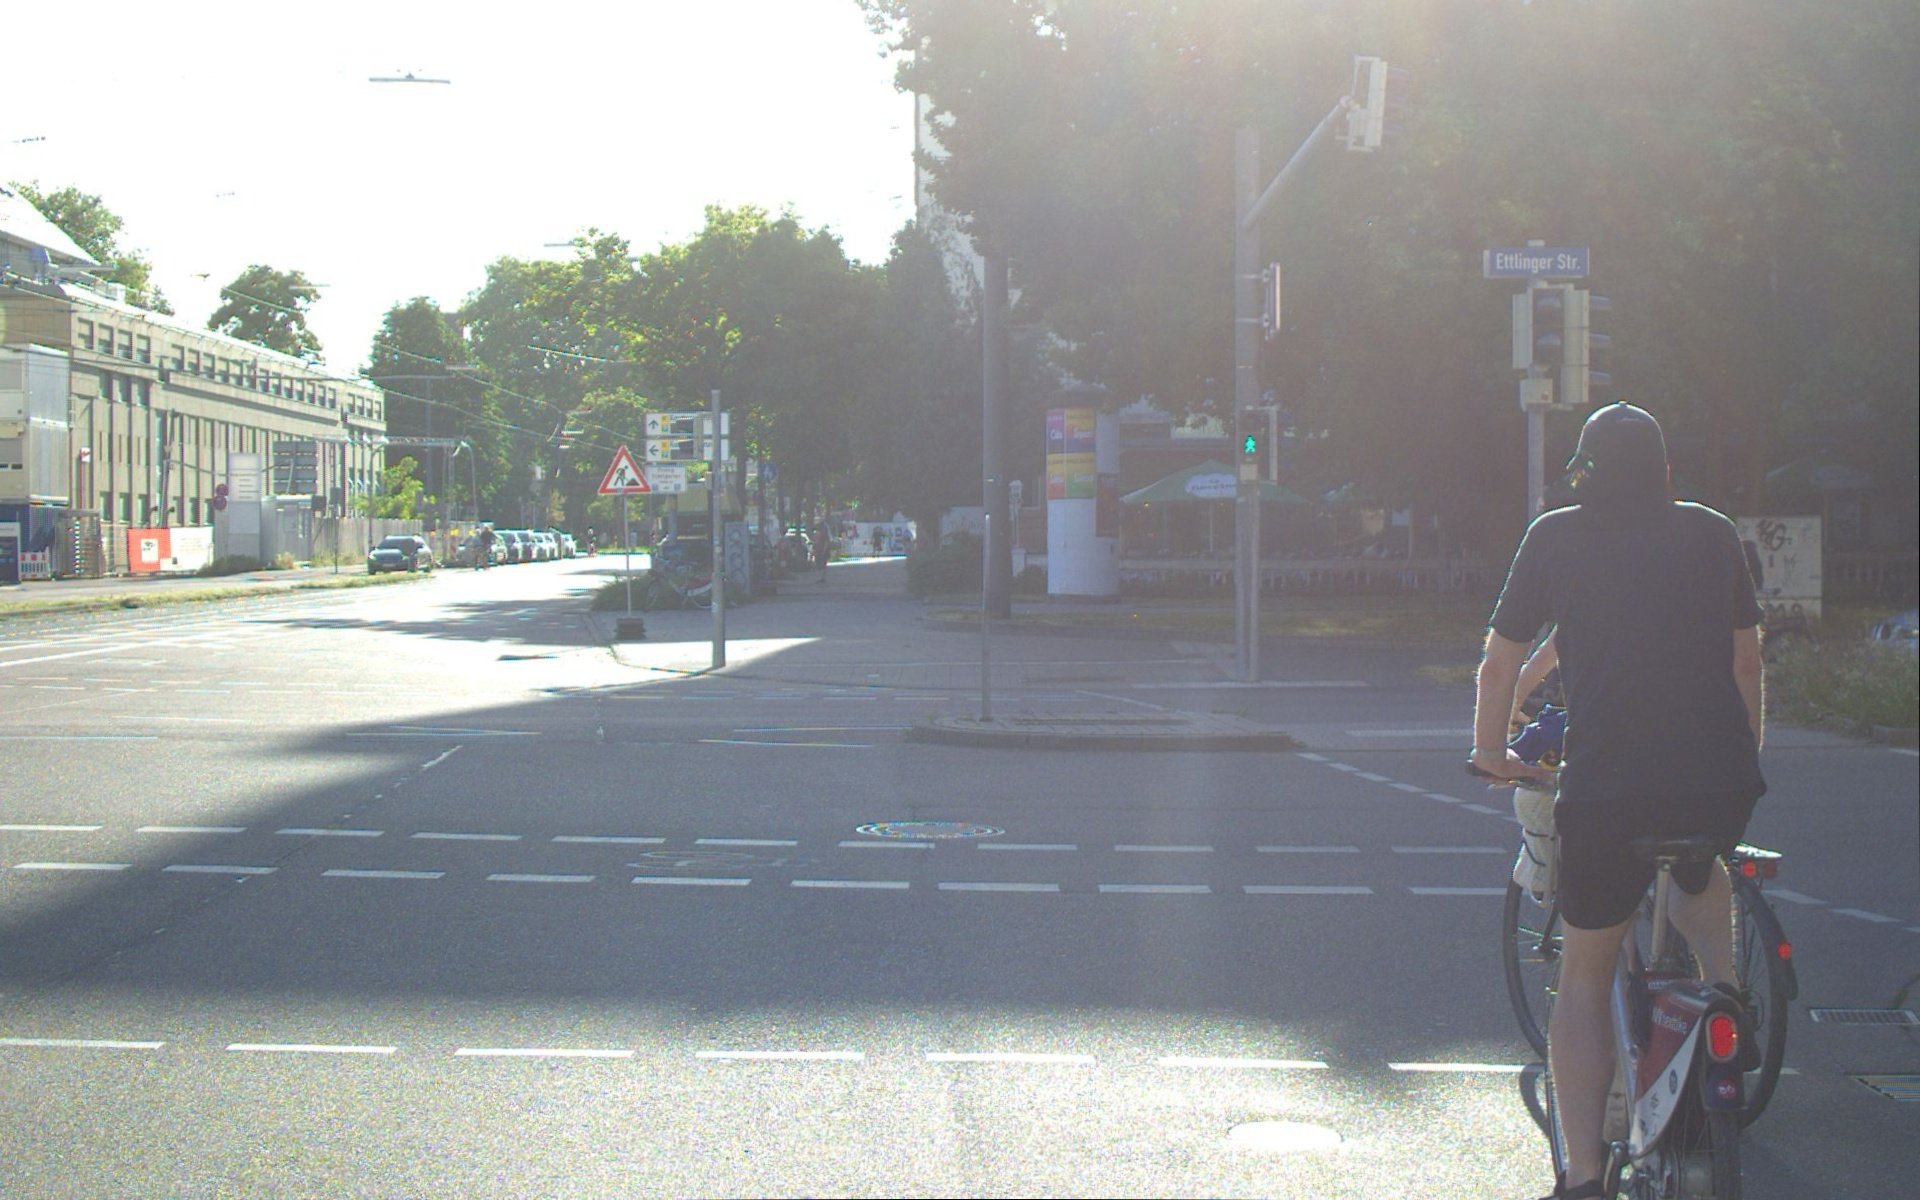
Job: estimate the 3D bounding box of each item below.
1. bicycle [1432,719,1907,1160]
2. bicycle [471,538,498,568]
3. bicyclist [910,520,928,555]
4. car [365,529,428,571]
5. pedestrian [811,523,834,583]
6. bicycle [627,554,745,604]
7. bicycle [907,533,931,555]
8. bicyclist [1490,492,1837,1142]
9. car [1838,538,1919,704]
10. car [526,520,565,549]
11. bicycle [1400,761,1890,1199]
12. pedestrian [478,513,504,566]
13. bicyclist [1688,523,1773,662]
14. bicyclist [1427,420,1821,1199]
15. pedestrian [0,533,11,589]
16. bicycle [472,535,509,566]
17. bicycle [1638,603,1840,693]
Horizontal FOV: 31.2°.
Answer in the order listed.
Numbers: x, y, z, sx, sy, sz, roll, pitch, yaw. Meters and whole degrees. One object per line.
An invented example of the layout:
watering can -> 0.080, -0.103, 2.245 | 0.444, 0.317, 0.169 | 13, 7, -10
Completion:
bicycle -> 1.959, 0.905, 9.749 | 0.582, 1.040, 1.747 | -1, 1, -16
bicycle -> -19.526, -1.928, 141.154 | 0.750, 1.201, 3.108 | 1, 0, -2
bicyclist -> -2.381, -3.643, 199.235 | 0.890, 2.007, 0.749 | 1, 0, -12
car -> -22.059, -1.967, 134.608 | 1.993, 1.593, 4.001 | 0, 1, -3
pedestrian -> -3.867, -1.311, 96.384 | 0.576, 1.683, 0.585 | -1, 1, -8
bicycle -> -5.264, -0.406, 66.062 | 2.244, 0.937, 0.654 | -1, 1, -5
bicycle -> -2.379, -3.227, 199.226 | 0.890, 1.215, 2.794 | 1, 0, -12
bicyclist -> 1.966, 0.570, 9.699 | 0.583, 1.732, 0.950 | -1, 1, -16
car -> 10.839, 0.219, 32.434 | 4.576, 1.511, 2.000 | 1, 0, 0
car -> -23.321, -3.686, 193.537 | 1.993, 1.638, 4.001 | 0, 1, -4
bicycle -> 1.372, 0.915, 7.194 | 0.623, 1.040, 1.747 | 0, 1, -2
pedestrian -> -18.421, -2.364, 135.045 | 0.751, 2.056, 1.050 | 1, 0, 5
bicyclist -> 7.891, -0.080, 35.240 | 0.747, 1.401, 0.702 | 1, 0, 6
bicyclist -> 1.365, 0.496, 7.202 | 0.623, 1.709, 0.913 | 0, 1, -2
pedestrian -> -32.374, -1.317, 115.835 | 0.588, 1.883, 0.478 | 1, 0, 8
bicycle -> -18.438, -1.939, 134.983 | 0.751, 1.201, 3.107 | 1, 0, 5
bicycle -> 7.972, 0.484, 35.239 | 1.944, 0.886, 0.718 | 1, 0, 6
